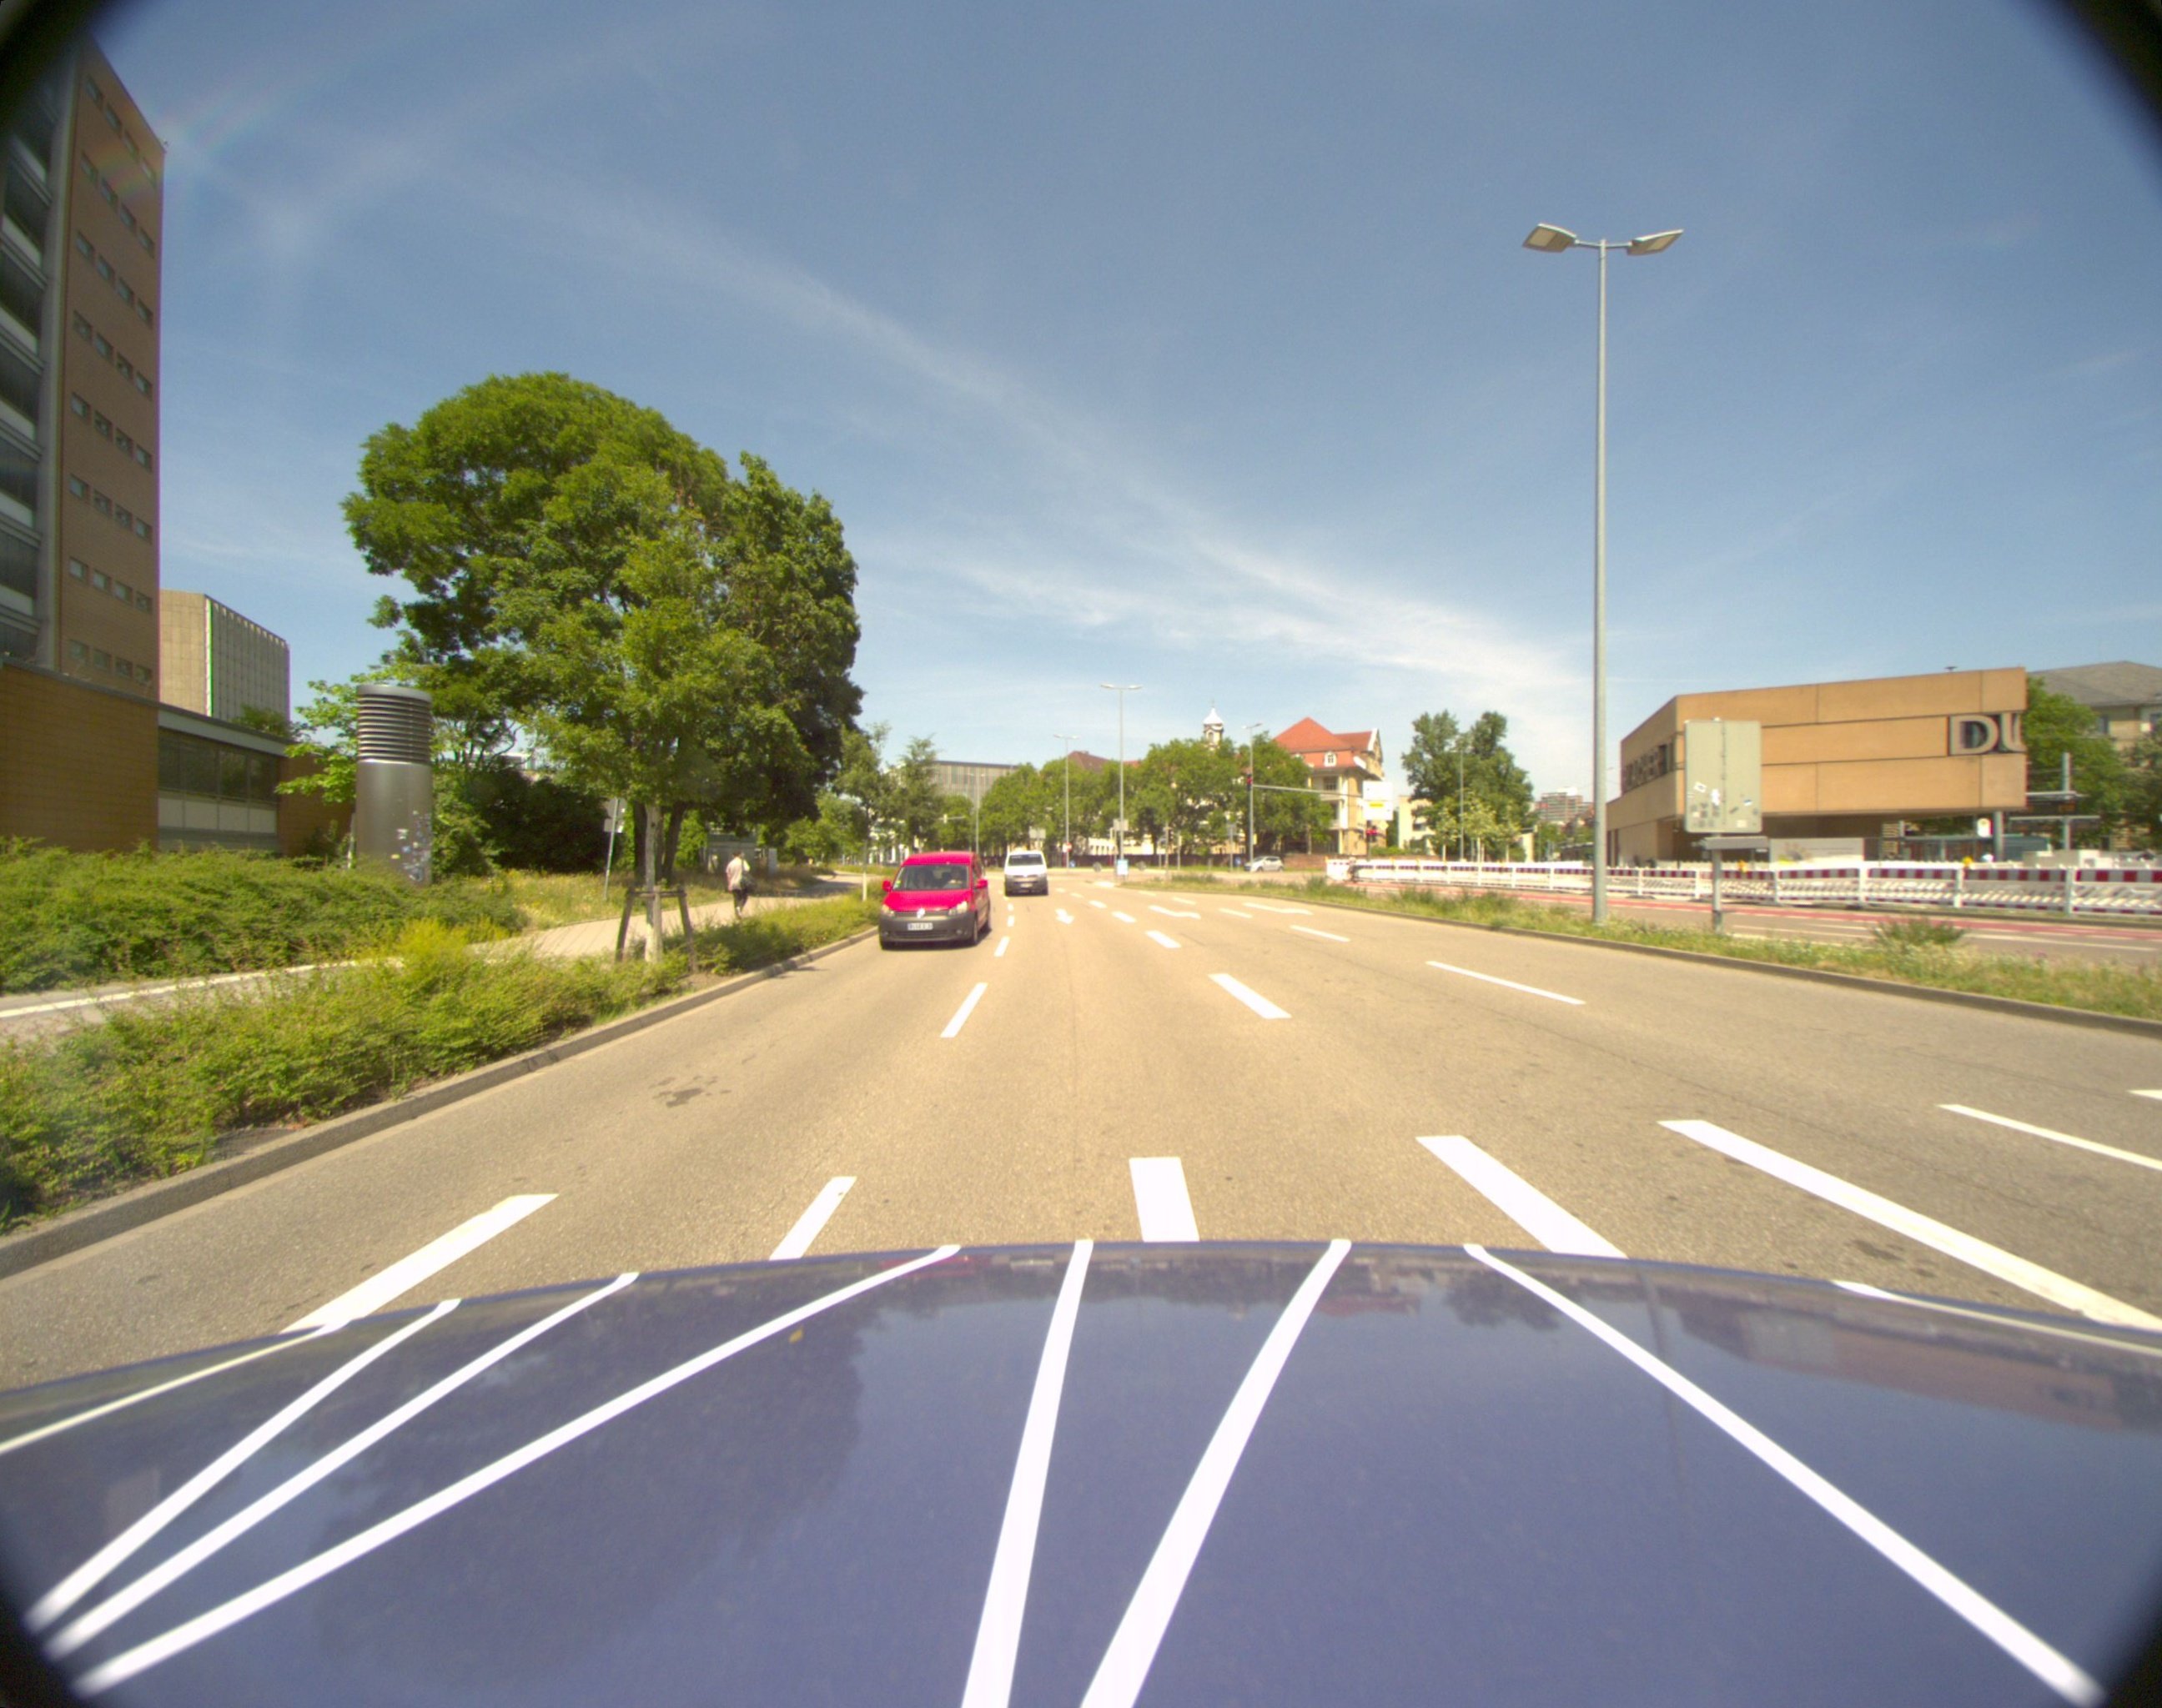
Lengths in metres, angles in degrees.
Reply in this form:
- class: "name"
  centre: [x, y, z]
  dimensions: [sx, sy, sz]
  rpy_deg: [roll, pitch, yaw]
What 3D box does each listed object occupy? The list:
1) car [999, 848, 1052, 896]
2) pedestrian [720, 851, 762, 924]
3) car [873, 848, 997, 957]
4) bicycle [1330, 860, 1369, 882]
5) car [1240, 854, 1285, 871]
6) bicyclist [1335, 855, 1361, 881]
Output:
- class: "car"
  centre: [-2.434, 0.745, 34.398]
  dimensions: [1.971, 1.958, 4.848]
  rpy_deg: [-2, 0, 0]
- class: "pedestrian"
  centre: [-8.394, 0.813, 18.791]
  dimensions: [0.728, 1.787, 0.614]
  rpy_deg: [0, 0, 1]
- class: "car"
  centre: [-2.784, 0.850, 15.478]
  dimensions: [1.655, 1.848, 4.545]
  rpy_deg: [-1, 0, -1]
- class: "bicycle"
  centre: [14.272, 0.875, 40.460]
  dimensions: [0.879, 1.066, 2.229]
  rpy_deg: [-2, 1, -14]
- class: "car"
  centre: [16.097, 0.756, 67.307]
  dimensions: [3.645, 1.455, 1.787]
  rpy_deg: [0, 0, -30]
- class: "bicyclist"
  centre: [14.259, 0.723, 40.568]
  dimensions: [0.587, 1.348, 1.438]
  rpy_deg: [-3, 1, -14]
